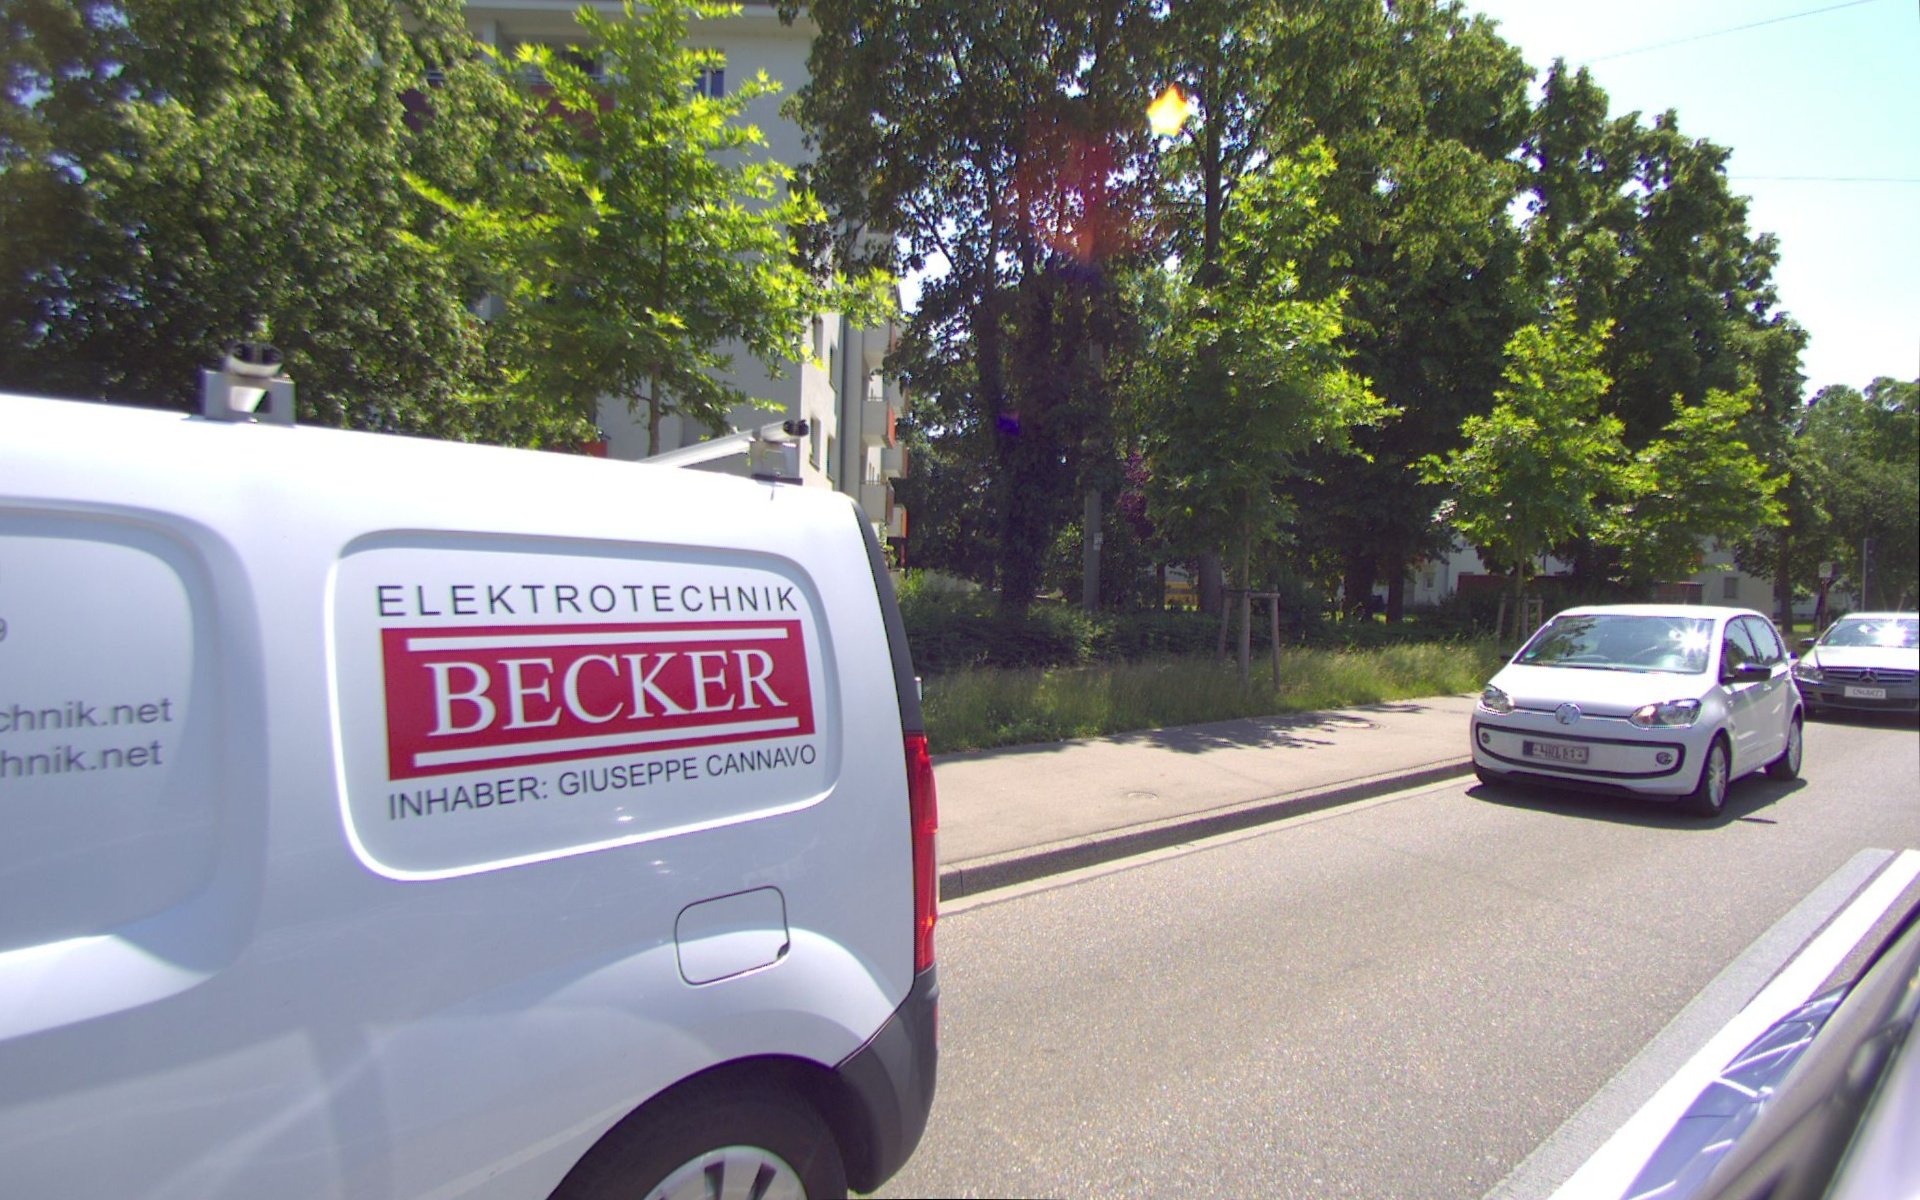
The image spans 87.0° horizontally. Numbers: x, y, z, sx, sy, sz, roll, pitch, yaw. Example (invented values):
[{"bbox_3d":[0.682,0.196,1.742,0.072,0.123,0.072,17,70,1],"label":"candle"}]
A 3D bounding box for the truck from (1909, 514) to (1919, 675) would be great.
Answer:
[{"bbox_3d":[23.574,-0.095,22.538,8.159,3.319,2.295,0,0,-38],"label":"truck"}]

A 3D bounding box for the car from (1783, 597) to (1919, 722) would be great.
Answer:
[{"bbox_3d":[12.837,0.721,13.709,3.900,1.478,1.903,0,1,-40],"label":"car"}]

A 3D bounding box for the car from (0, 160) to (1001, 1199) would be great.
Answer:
[{"bbox_3d":[-2.169,0.454,1.394,4.376,1.905,1.828,0,0,-40],"label":"car"}]

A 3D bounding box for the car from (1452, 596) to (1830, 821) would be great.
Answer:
[{"bbox_3d":[5.822,0.715,8.488,3.786,1.468,1.662,0,0,-40],"label":"car"}]
